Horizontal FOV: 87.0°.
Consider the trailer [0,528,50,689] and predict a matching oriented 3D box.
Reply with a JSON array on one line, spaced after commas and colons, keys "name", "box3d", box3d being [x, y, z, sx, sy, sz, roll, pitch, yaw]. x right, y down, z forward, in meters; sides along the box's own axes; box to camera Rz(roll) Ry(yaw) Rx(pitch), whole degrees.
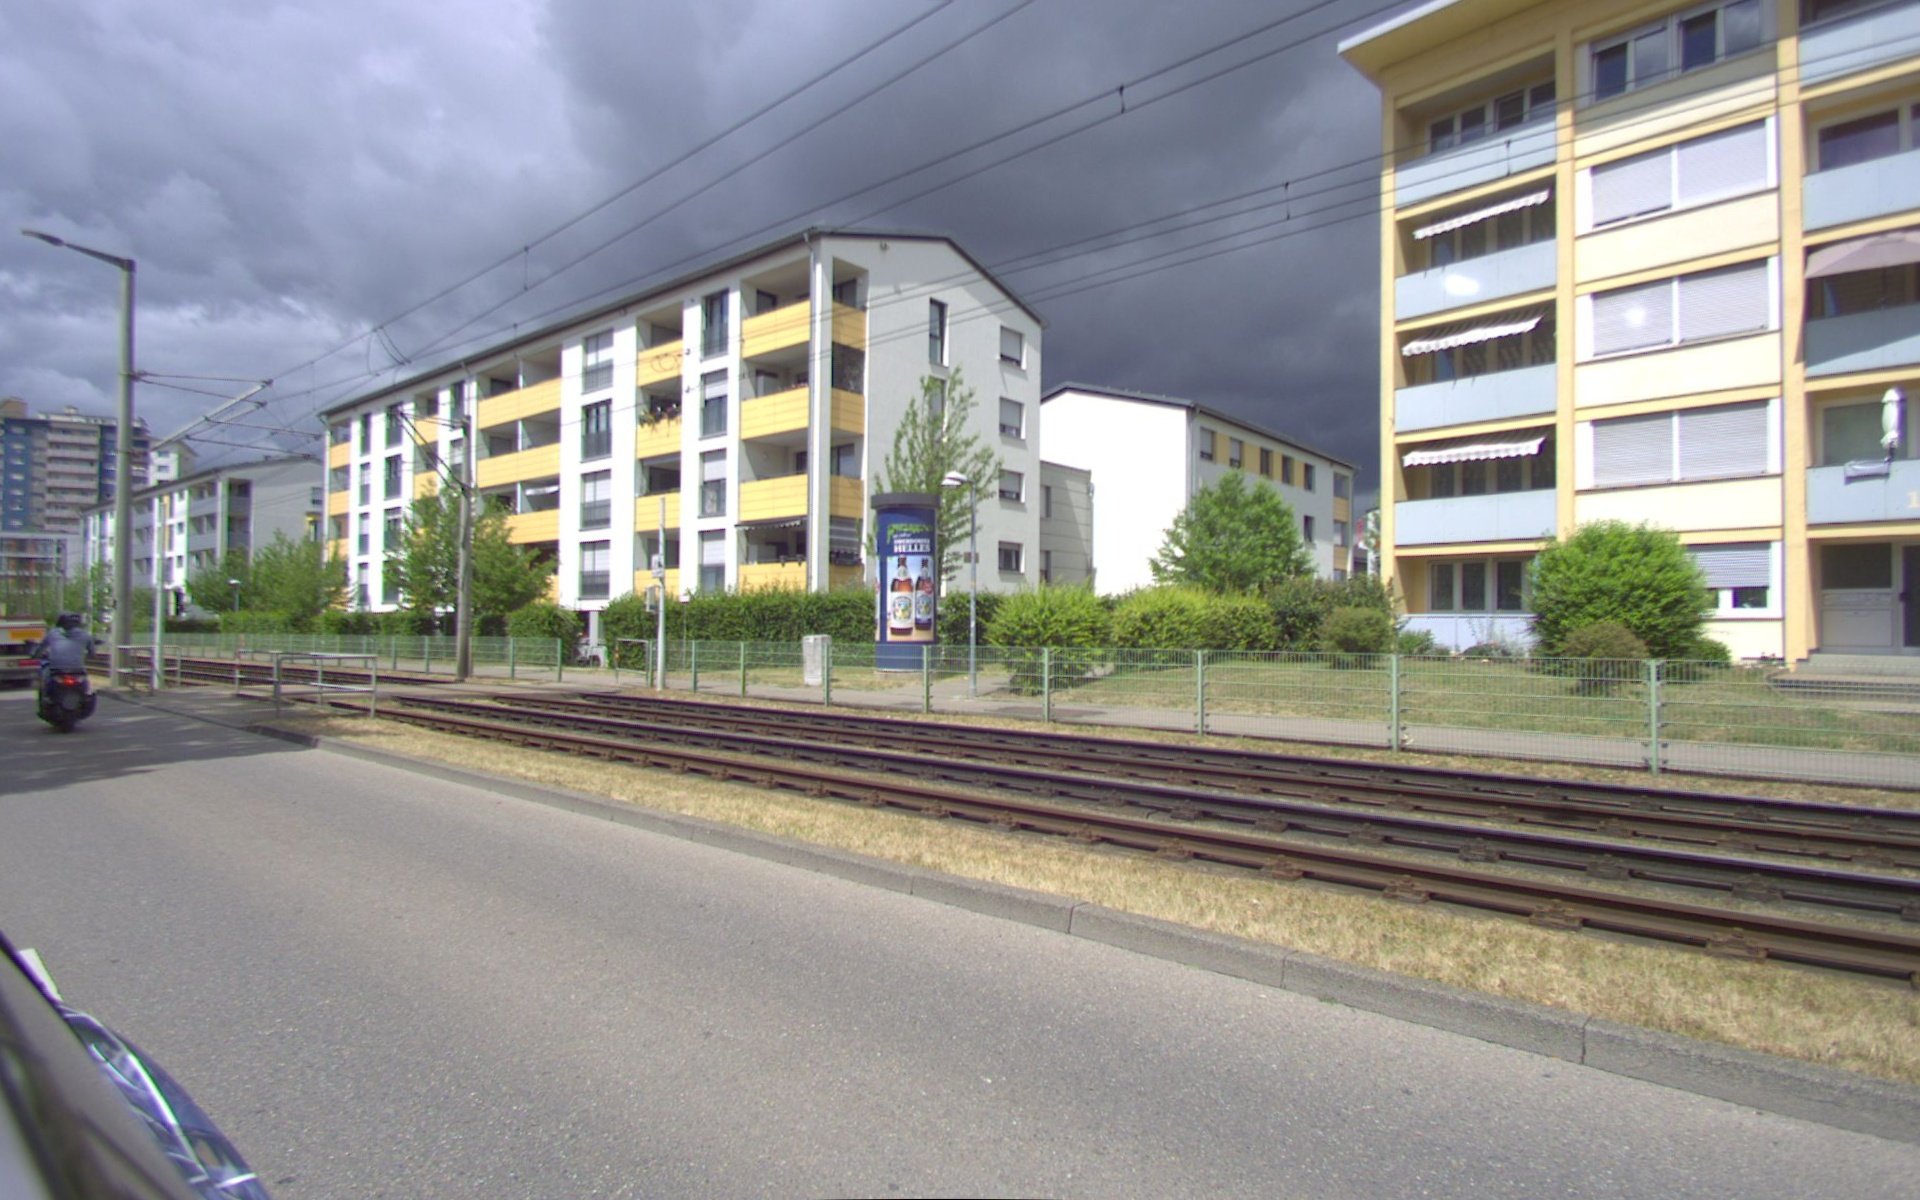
[{"name": "trailer", "box3d": [-26.525, 0.339, 26.217, 14.611, 3.474, 2.837, -1, 0, 42]}]

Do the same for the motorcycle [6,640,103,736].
[{"name": "motorcycle", "box3d": [-12.568, 1.176, 14.028, 1.868, 1.197, 0.773, -2, -1, 41]}]

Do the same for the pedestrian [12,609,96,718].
[{"name": "pedestrian", "box3d": [-12.523, 0.856, 13.984, 0.926, 1.427, 0.728, -2, 0, 41]}]
